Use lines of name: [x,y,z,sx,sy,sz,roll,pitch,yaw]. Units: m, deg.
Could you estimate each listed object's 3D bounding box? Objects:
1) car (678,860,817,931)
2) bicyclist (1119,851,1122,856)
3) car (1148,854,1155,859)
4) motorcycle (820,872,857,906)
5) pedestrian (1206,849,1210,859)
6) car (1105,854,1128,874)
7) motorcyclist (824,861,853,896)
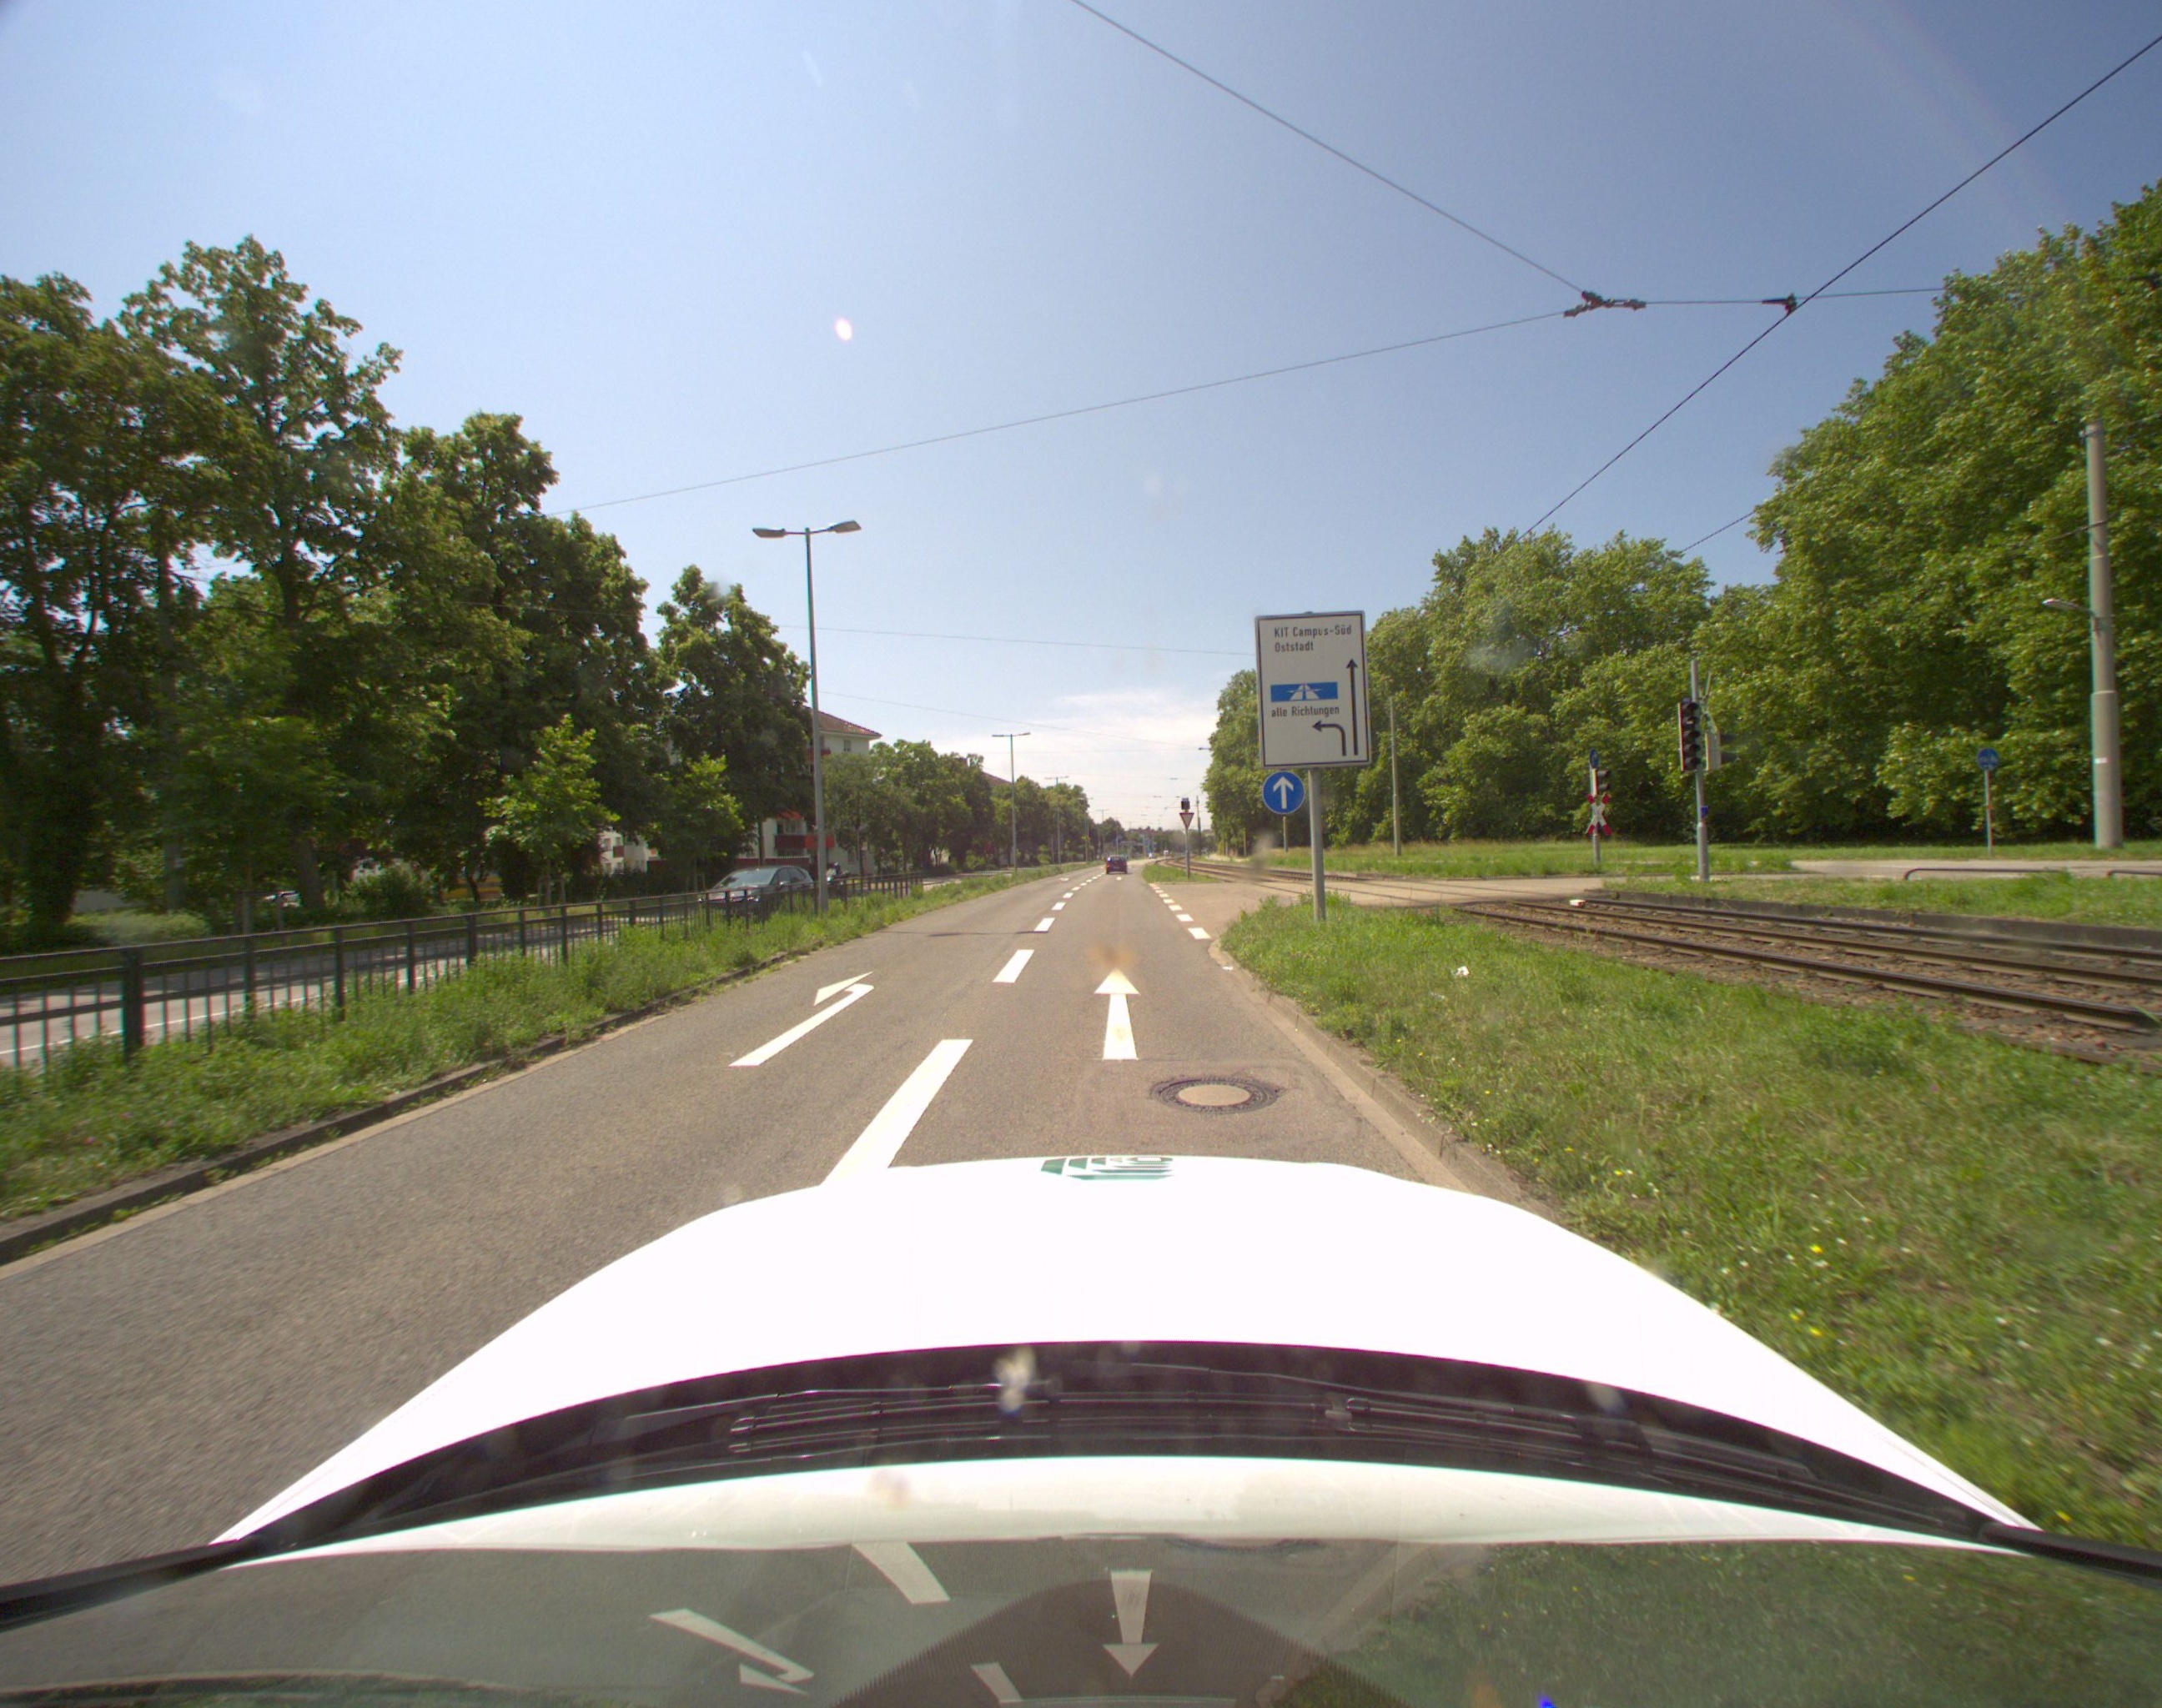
car: [-8.448,0.990,21.085,1.750,1.543,4.162,-3,0,1]
bicyclist: [12.121,-0.060,249.836,0.942,1.593,1.086,-1,-1,-4]
car: [18.464,0.676,212.524,1.695,1.481,3.721,0,-1,4]
motorcycle: [-10.125,1.424,34.106,0.803,1.299,2.393,-3,0,-1]
pedestrian: [24.208,-0.007,155.104,0.658,1.726,0.818,-3,0,8]
car: [2.801,0.772,63.973,1.696,1.477,3.719,-1,-1,3]
motorcyclist: [-10.125,1.003,34.050,0.734,1.403,1.511,-3,0,-3]
